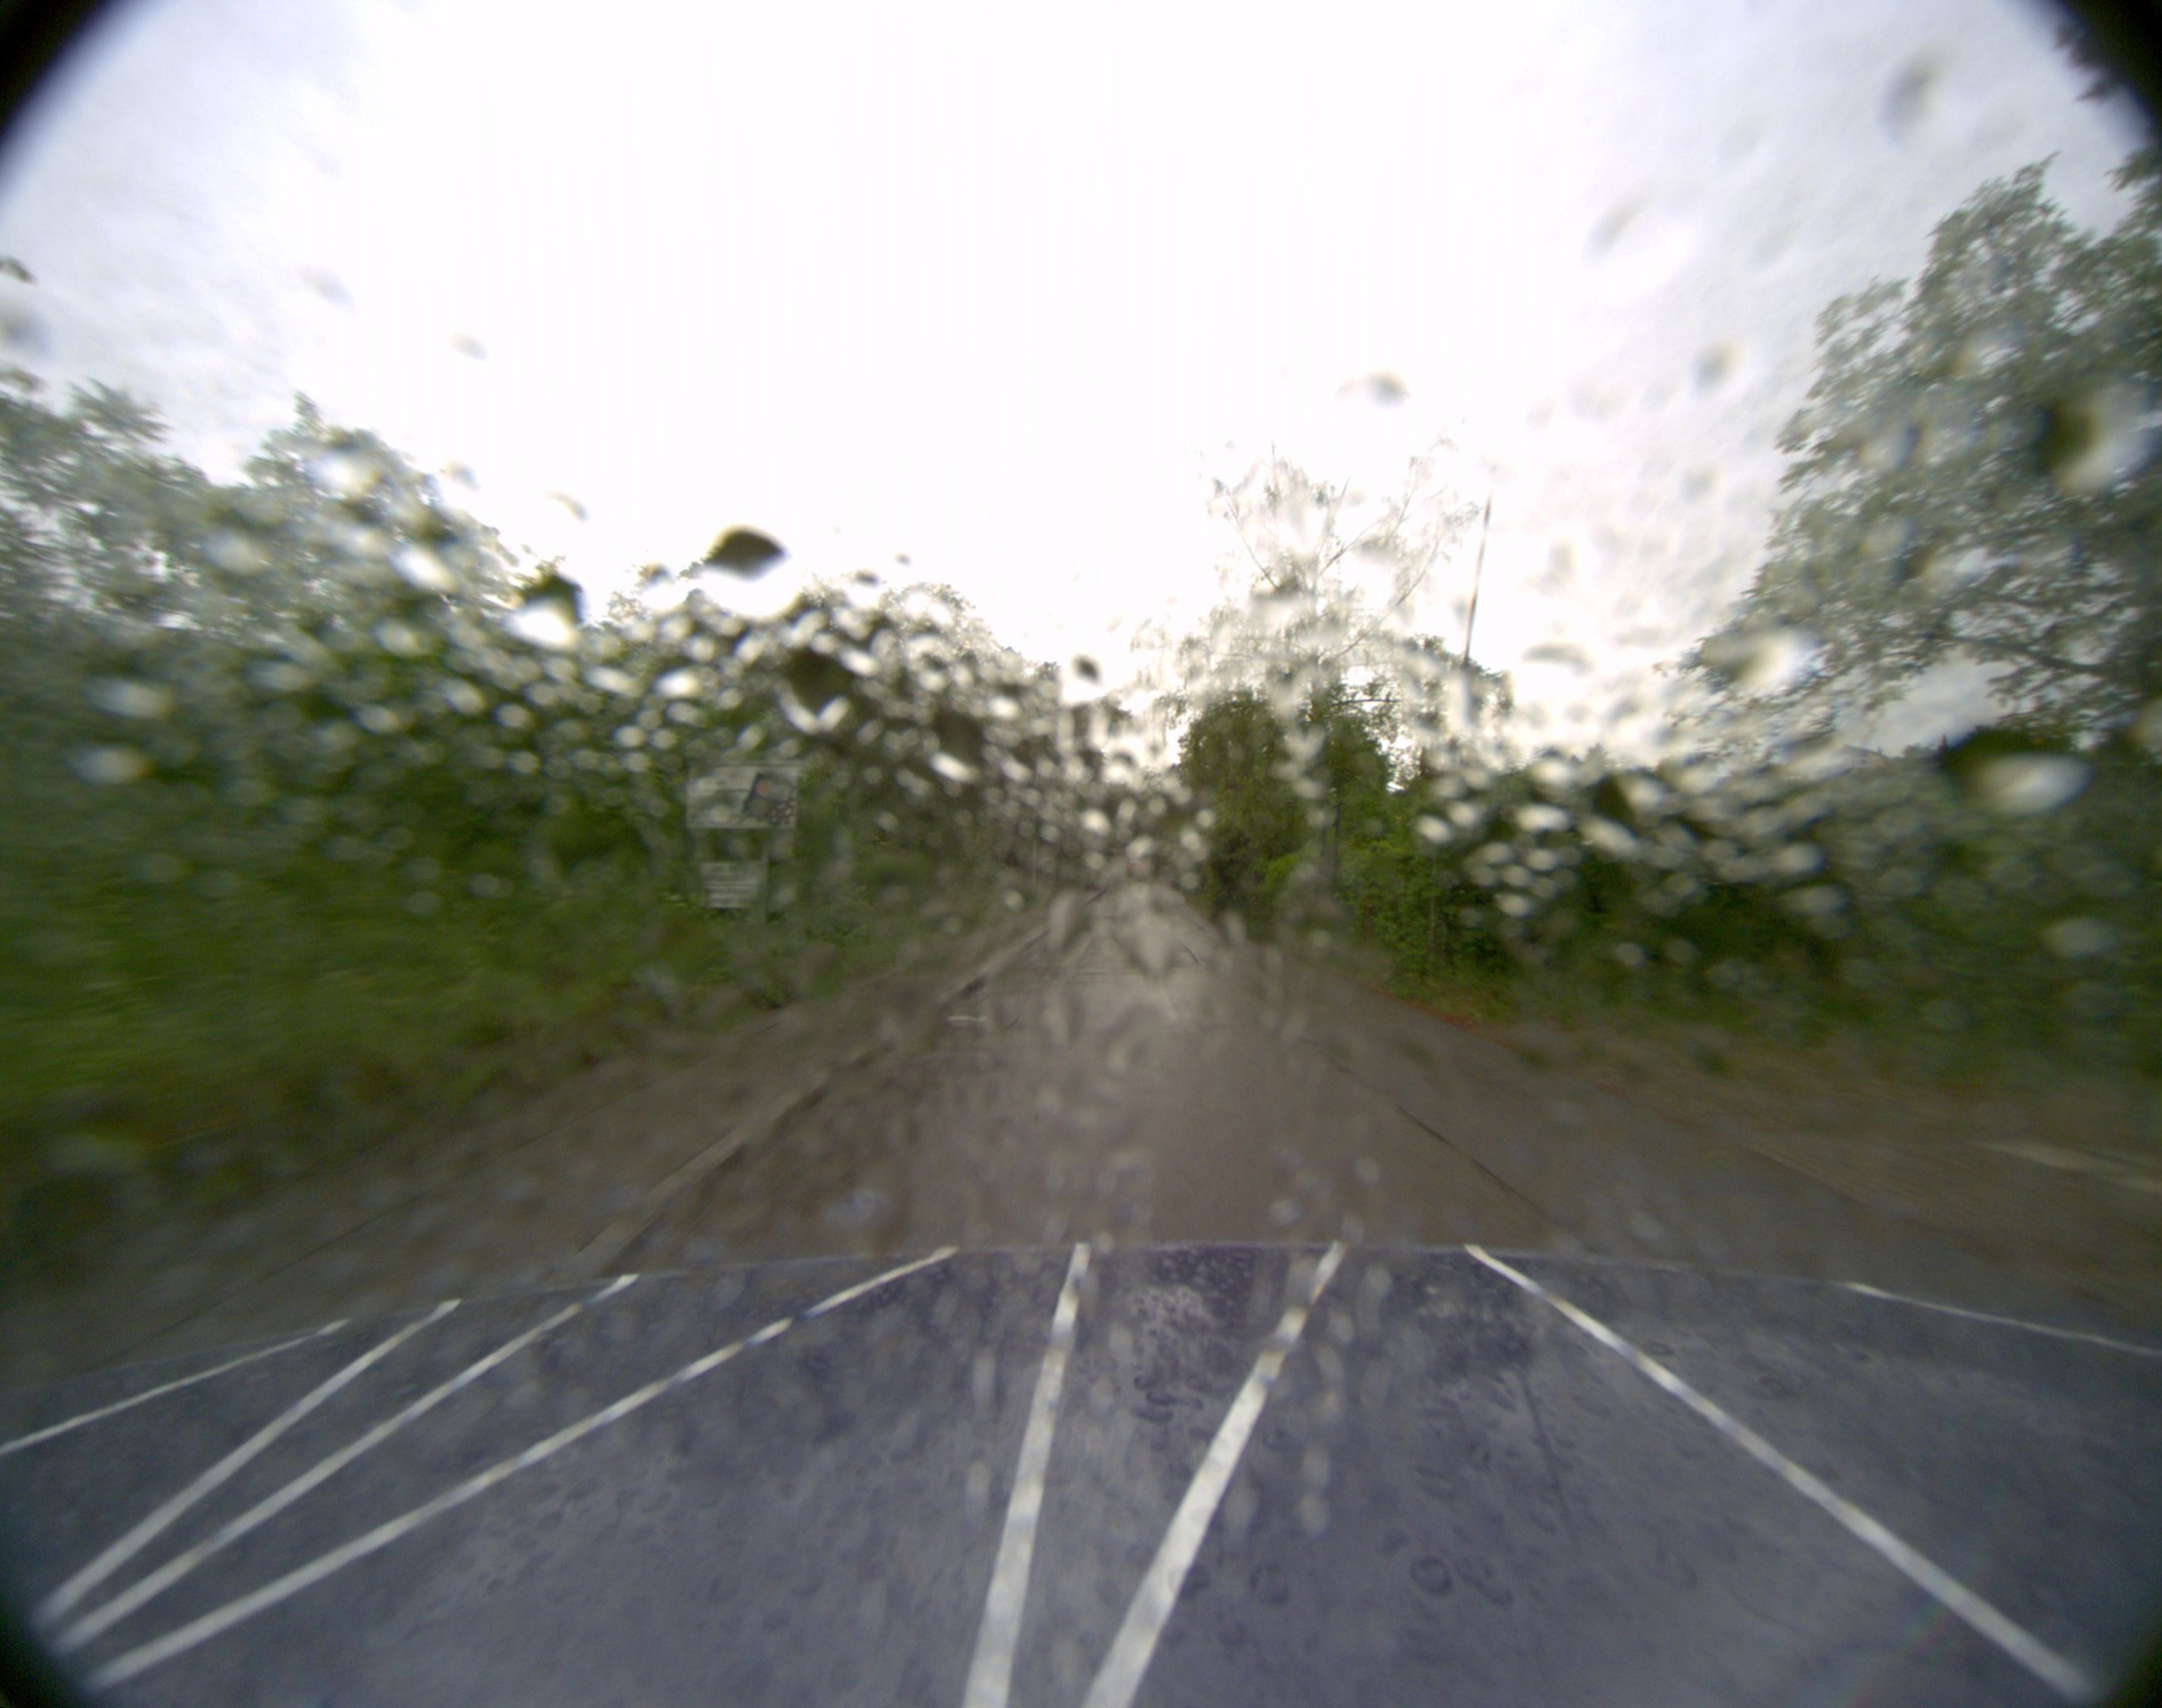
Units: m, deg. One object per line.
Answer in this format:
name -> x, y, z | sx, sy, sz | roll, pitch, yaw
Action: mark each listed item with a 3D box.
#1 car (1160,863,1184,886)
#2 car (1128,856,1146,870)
car -> 7.458, 1.666, 62.297 | 1.689, 1.717, 4.070 | 2, -1, 4
car -> 6.753, 1.155, 92.333 | 1.927, 1.611, 4.464 | -1, -2, 1
